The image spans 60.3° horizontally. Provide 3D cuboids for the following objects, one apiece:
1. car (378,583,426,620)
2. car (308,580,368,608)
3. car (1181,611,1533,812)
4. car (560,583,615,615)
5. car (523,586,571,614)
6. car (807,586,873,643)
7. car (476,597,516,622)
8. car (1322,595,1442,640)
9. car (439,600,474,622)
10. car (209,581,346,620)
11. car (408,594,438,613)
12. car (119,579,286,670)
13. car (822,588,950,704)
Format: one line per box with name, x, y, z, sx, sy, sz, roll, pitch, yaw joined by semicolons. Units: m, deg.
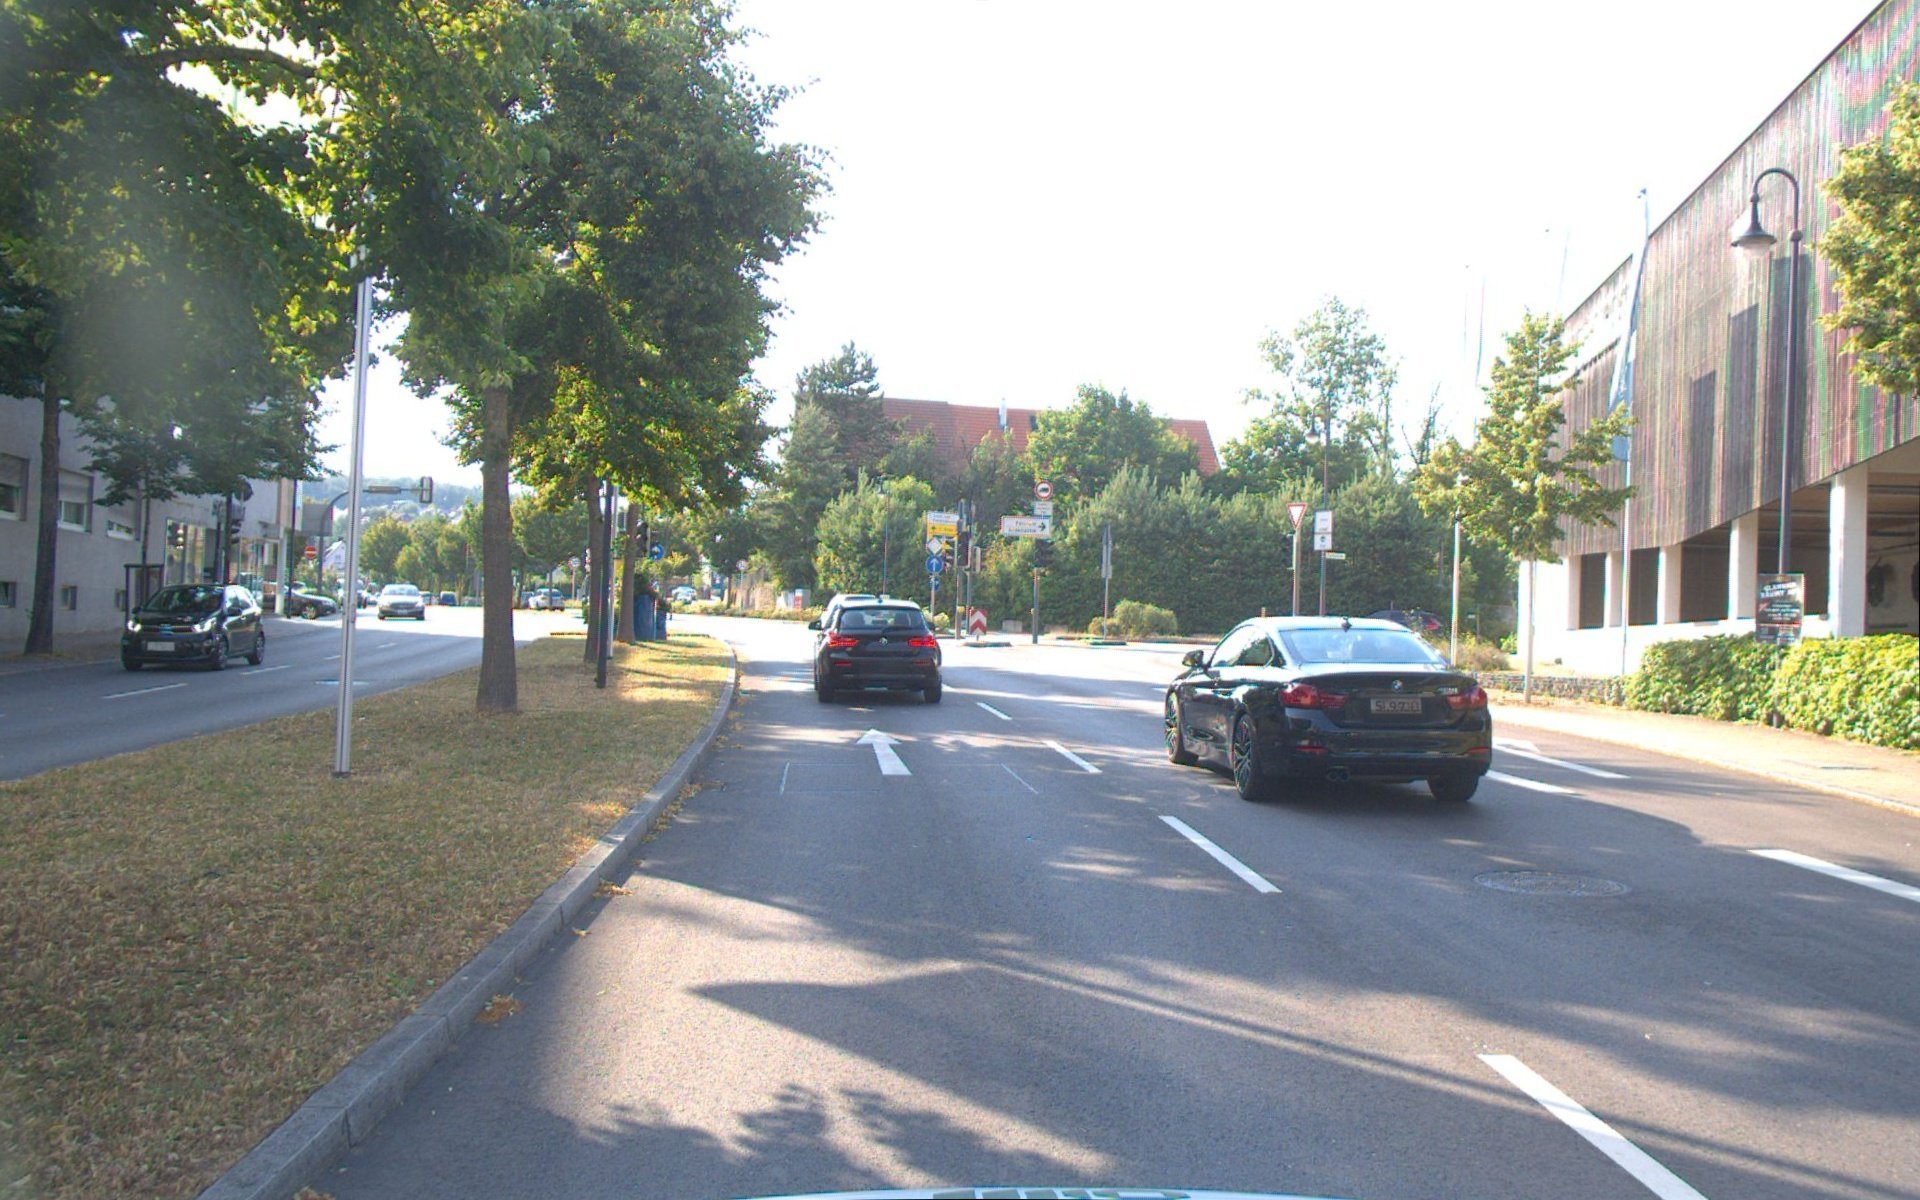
car;-23.832;0.051;70.517;1.825;1.512;4.966;1;0;-20
car;-40.228;-0.395;106.916;1.844;1.767;4.843;1;0;-44
car;3.092;0.800;13.830;1.881;1.388;4.352;1;0;0
car;-21.858;-0.058;96.878;2.190;1.800;4.417;1;0;-26
car;-27.546;0.013;110.239;2.190;1.800;4.417;1;0;-26
car;-3.990;0.462;54.481;1.889;1.800;4.446;1;0;-8
car;-35.614;0.711;126.888;2.190;1.800;4.417;1;0;-26
car;16.084;0.647;63.029;4.173;1.594;1.791;1;0;26
car;-43.984;0.962;144.459;2.190;1.891;4.417;1;0;-26
car;-26.934;0.016;65.422;4.778;1.462;1.909;1;0;-16
car;-52.504;0.348;161.665;2.190;1.800;4.417;1;0;-26
car;-13.495;0.418;29.683;1.575;1.512;3.779;1;0;-6
car;-1.116;0.628;24.497;1.687;1.516;4.350;1;0;-3
